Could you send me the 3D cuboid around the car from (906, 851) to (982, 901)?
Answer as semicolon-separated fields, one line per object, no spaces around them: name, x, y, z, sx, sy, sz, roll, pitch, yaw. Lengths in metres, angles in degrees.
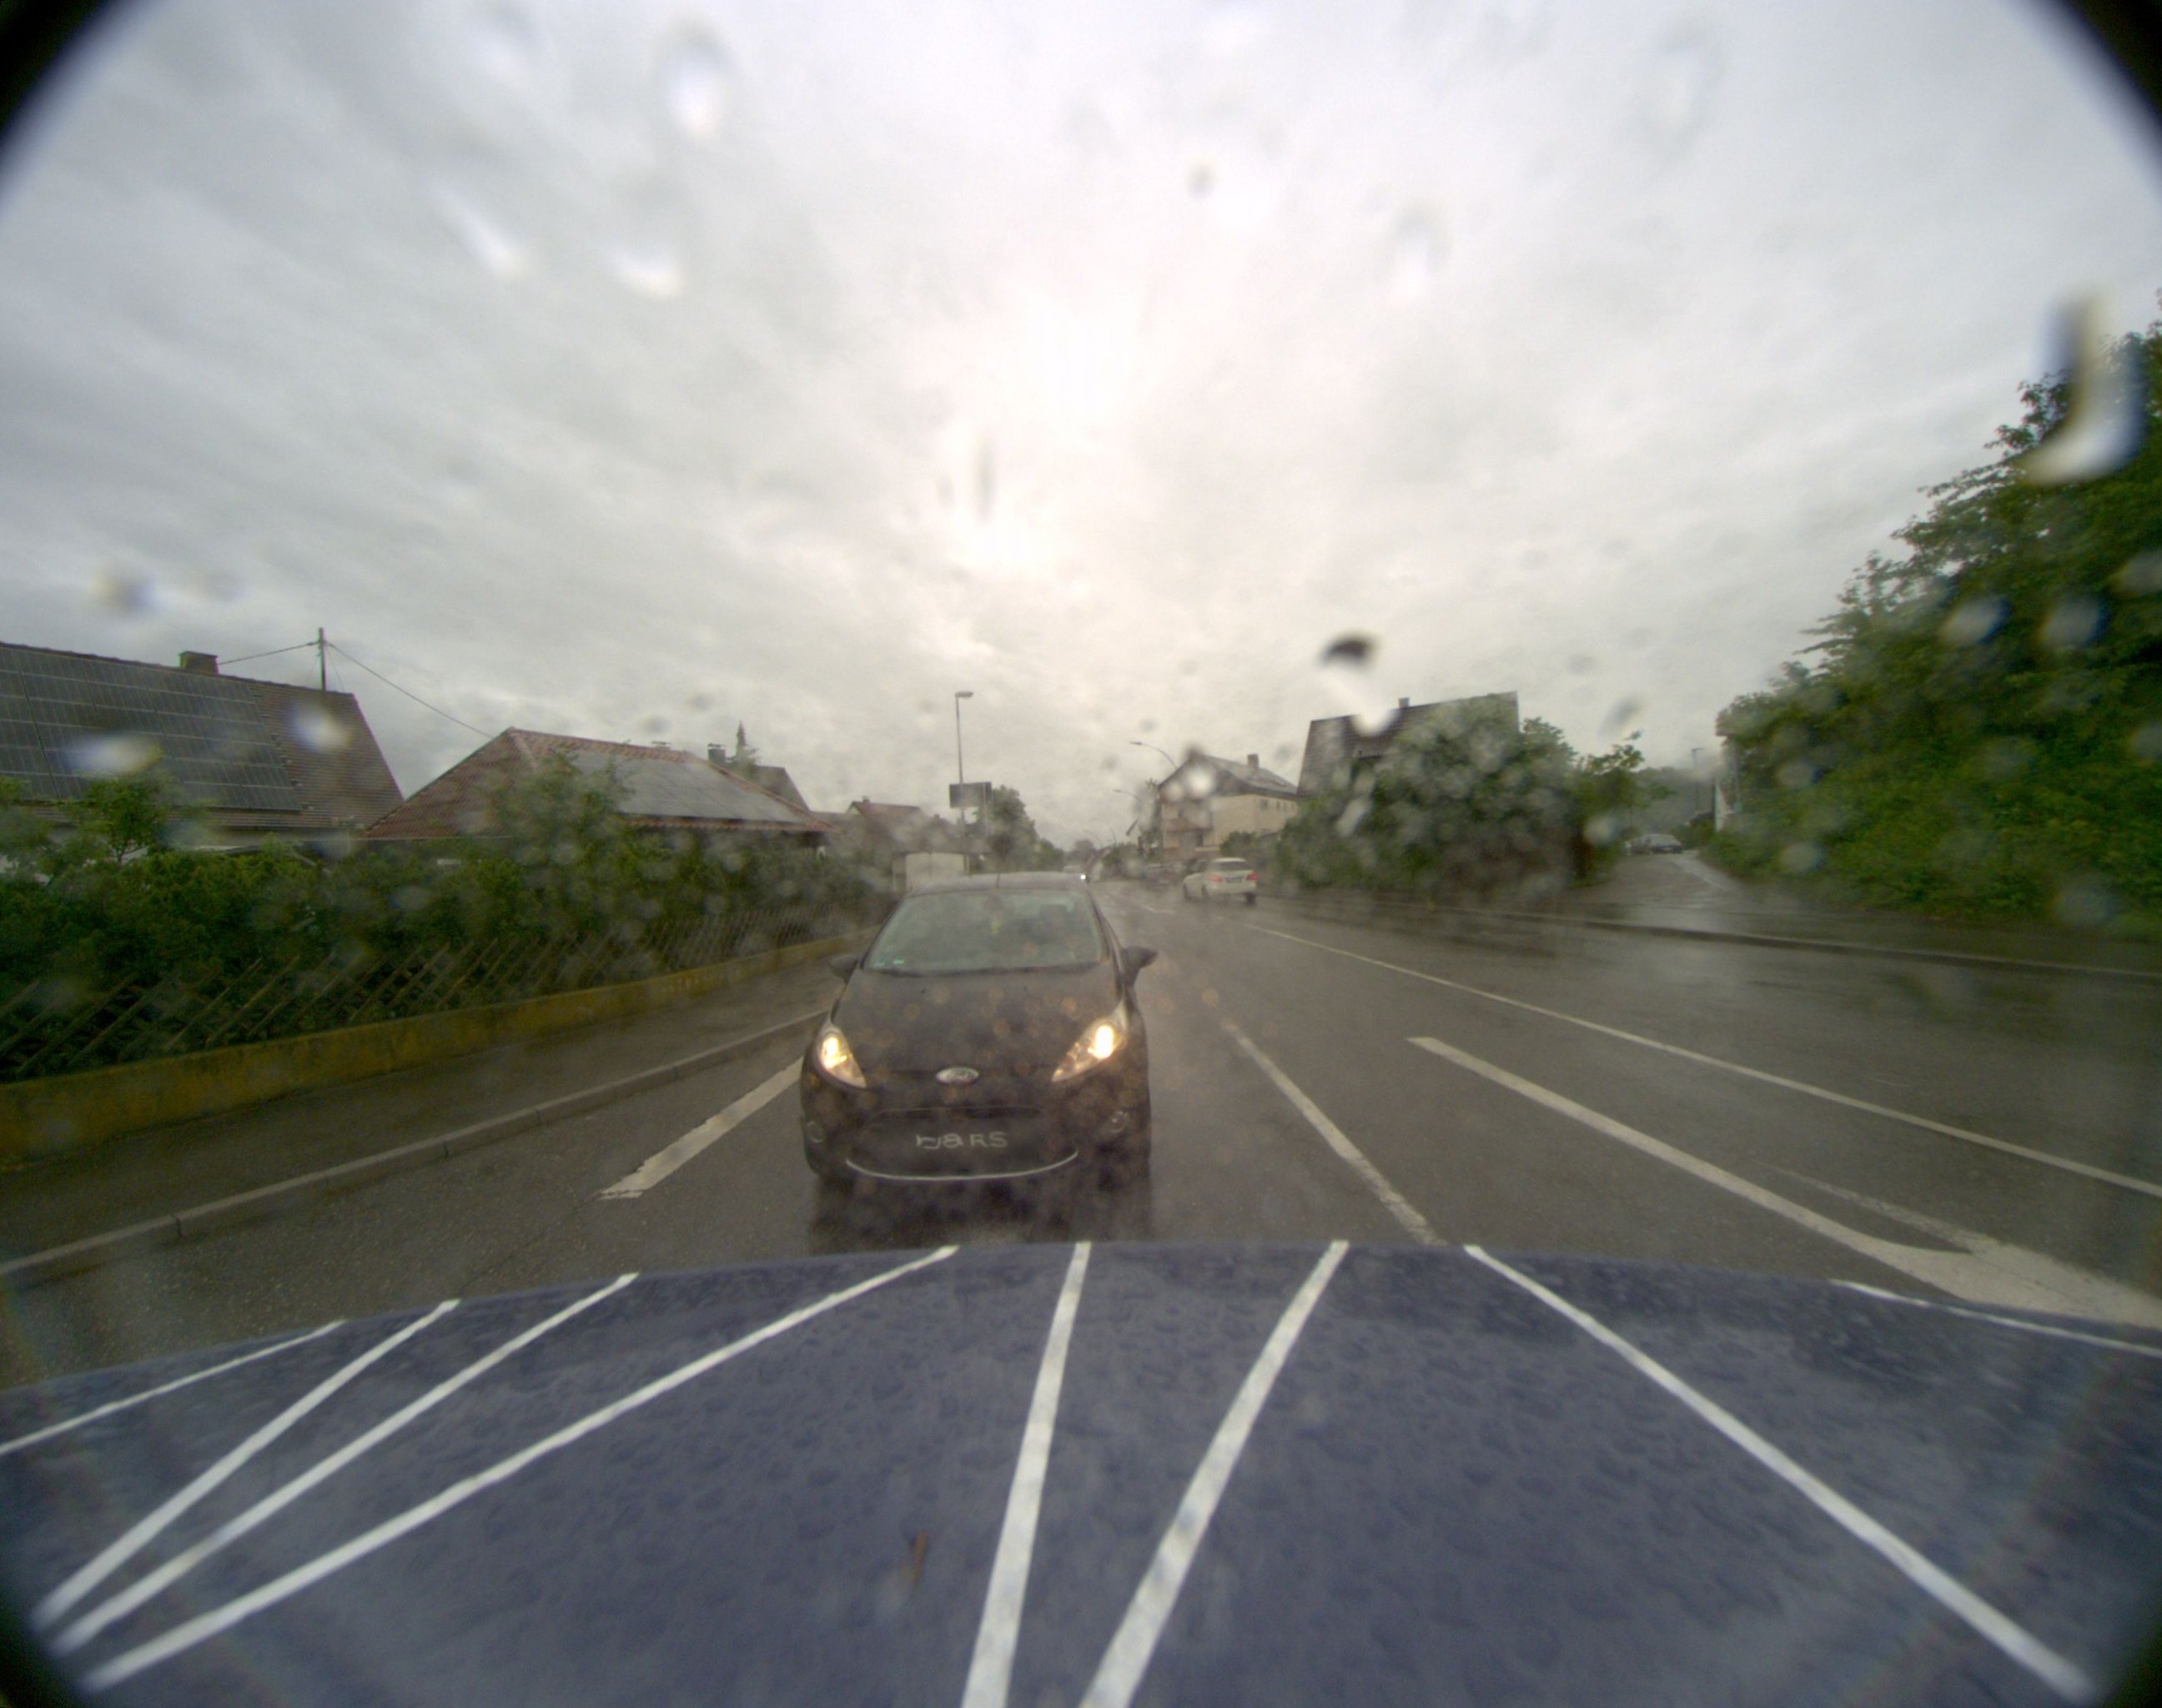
car;-6.891;1.072;38.621;1.650;2.337;4.007;-2;0;27

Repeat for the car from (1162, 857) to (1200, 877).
car;8.818;1.106;66.879;1.661;1.538;4.007;-2;1;34

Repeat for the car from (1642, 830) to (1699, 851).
car;45.520;-1.013;58.781;1.997;1.477;4.004;-3;0;13

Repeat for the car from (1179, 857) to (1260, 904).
car;4.896;0.893;27.458;1.669;1.496;4.320;-3;0;-6

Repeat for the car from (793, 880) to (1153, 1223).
car;-0.560;1.013;5.612;1.666;1.410;3.931;-2;1;-1

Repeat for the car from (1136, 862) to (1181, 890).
car;4.405;1.226;43.737;1.670;1.430;4.105;0;0;-8

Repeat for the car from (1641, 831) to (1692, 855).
car;40.735;-0.754;52.929;1.895;1.474;4.007;-2;0;24

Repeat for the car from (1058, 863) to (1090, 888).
car;-0.511;1.408;50.725;1.899;1.474;3.999;-2;0;-3
